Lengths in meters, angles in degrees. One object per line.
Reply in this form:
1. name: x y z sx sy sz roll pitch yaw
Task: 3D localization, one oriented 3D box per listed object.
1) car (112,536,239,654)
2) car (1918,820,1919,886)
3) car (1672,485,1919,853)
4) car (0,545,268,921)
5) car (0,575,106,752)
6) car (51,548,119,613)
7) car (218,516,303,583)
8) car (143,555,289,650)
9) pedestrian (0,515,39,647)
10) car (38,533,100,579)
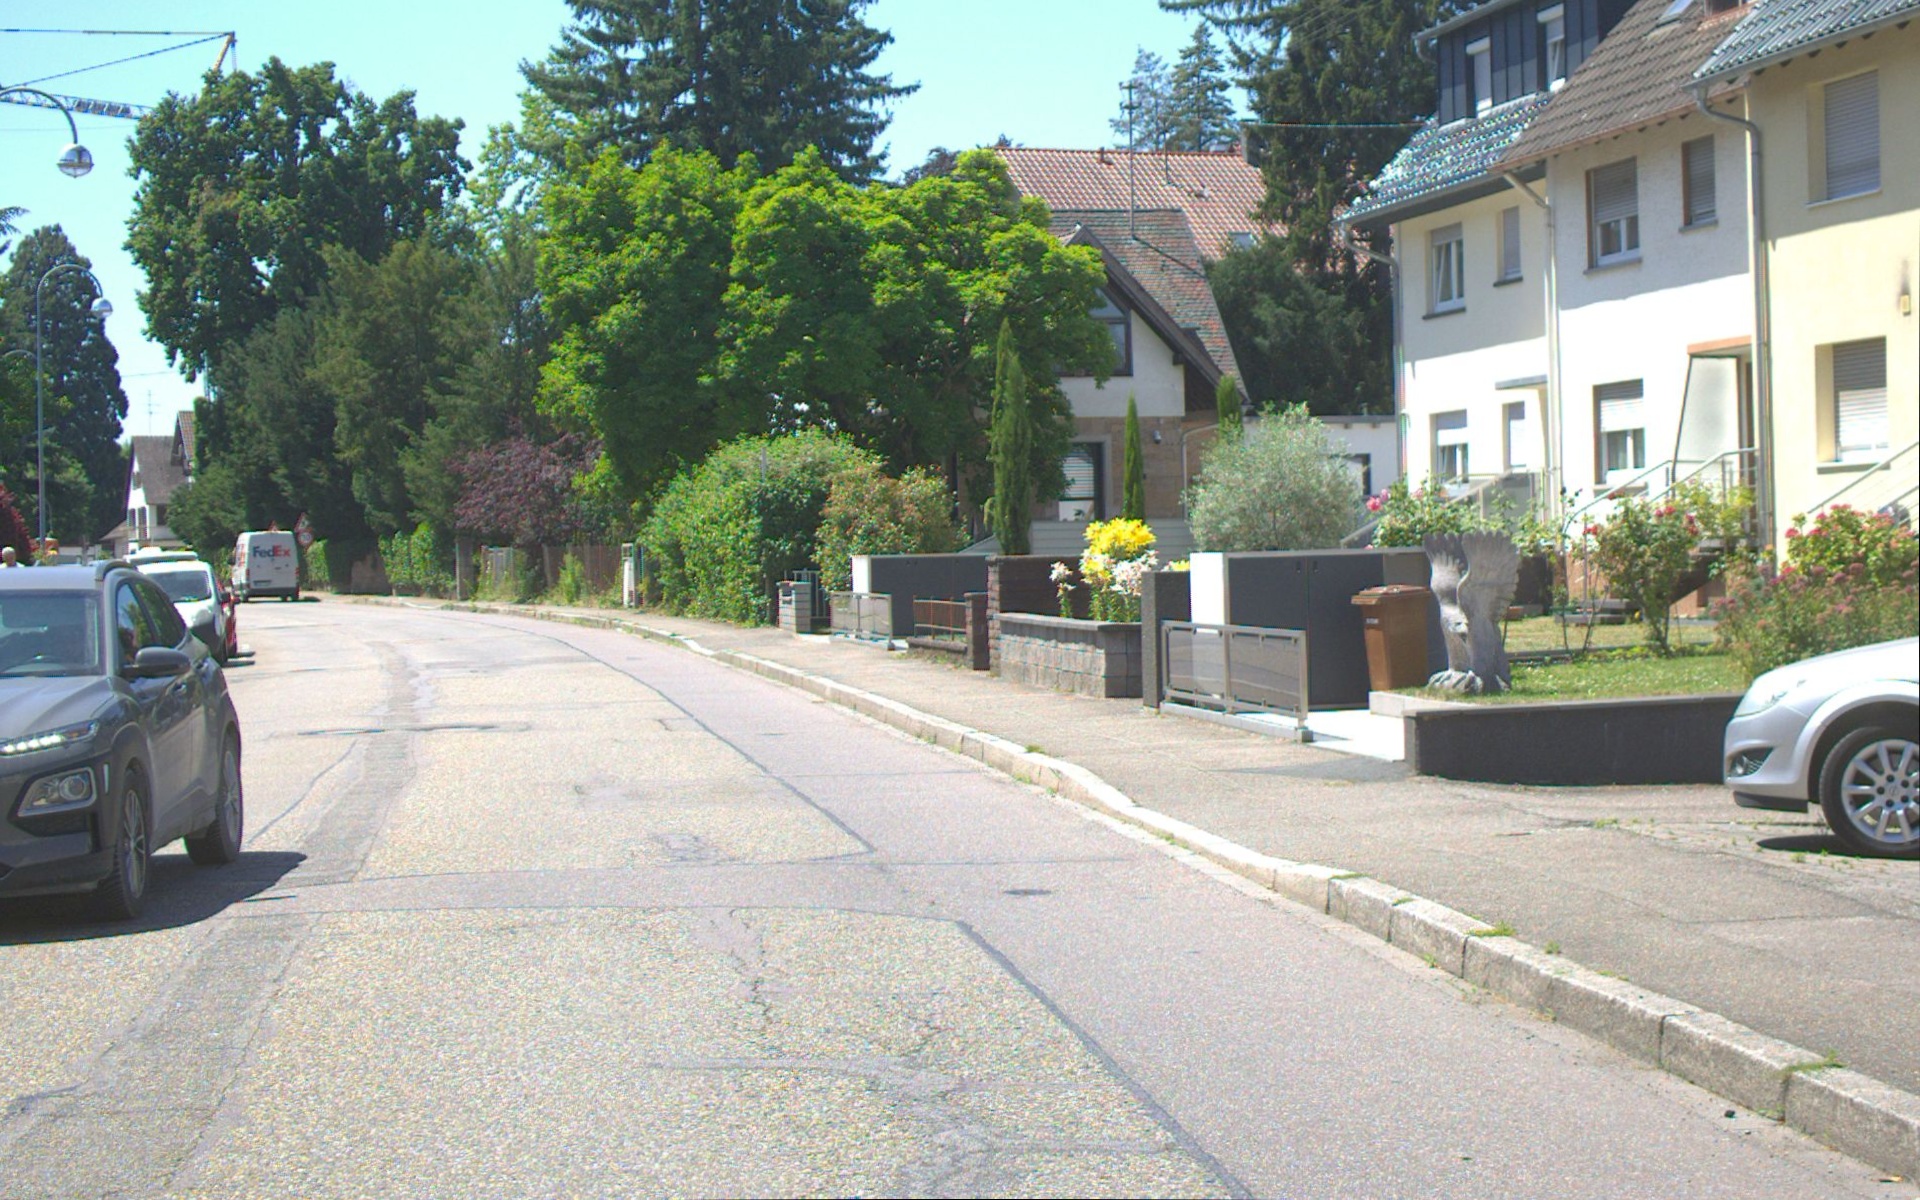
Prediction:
1. car: -12.662 -0.109 55.651 1.722 1.730 3.888 -4 1 -10
2. car: 5.872 0.416 11.745 4.639 1.404 1.769 2 1 -5
3. car: 5.410 0.326 14.733 4.296 1.542 1.754 1 0 26
4. car: -4.479 0.543 16.003 1.740 1.500 4.143 -3 1 -2
5. car: -8.774 0.557 31.045 1.578 1.418 3.942 -4 2 -8
6. car: -25.151 -0.574 98.710 1.647 1.746 4.356 -3 2 -16
7. car: -25.575 -1.840 125.542 2.143 2.307 4.854 -3 2 -21
8. car: -13.116 0.010 60.848 1.760 1.472 4.059 -3 2 -2
9. pedestrian: -13.901 -0.280 50.014 0.689 1.883 1.019 3 0 -4
10. car: -34.914 -1.719 134.676 1.850 1.665 4.714 -4 2 -20
